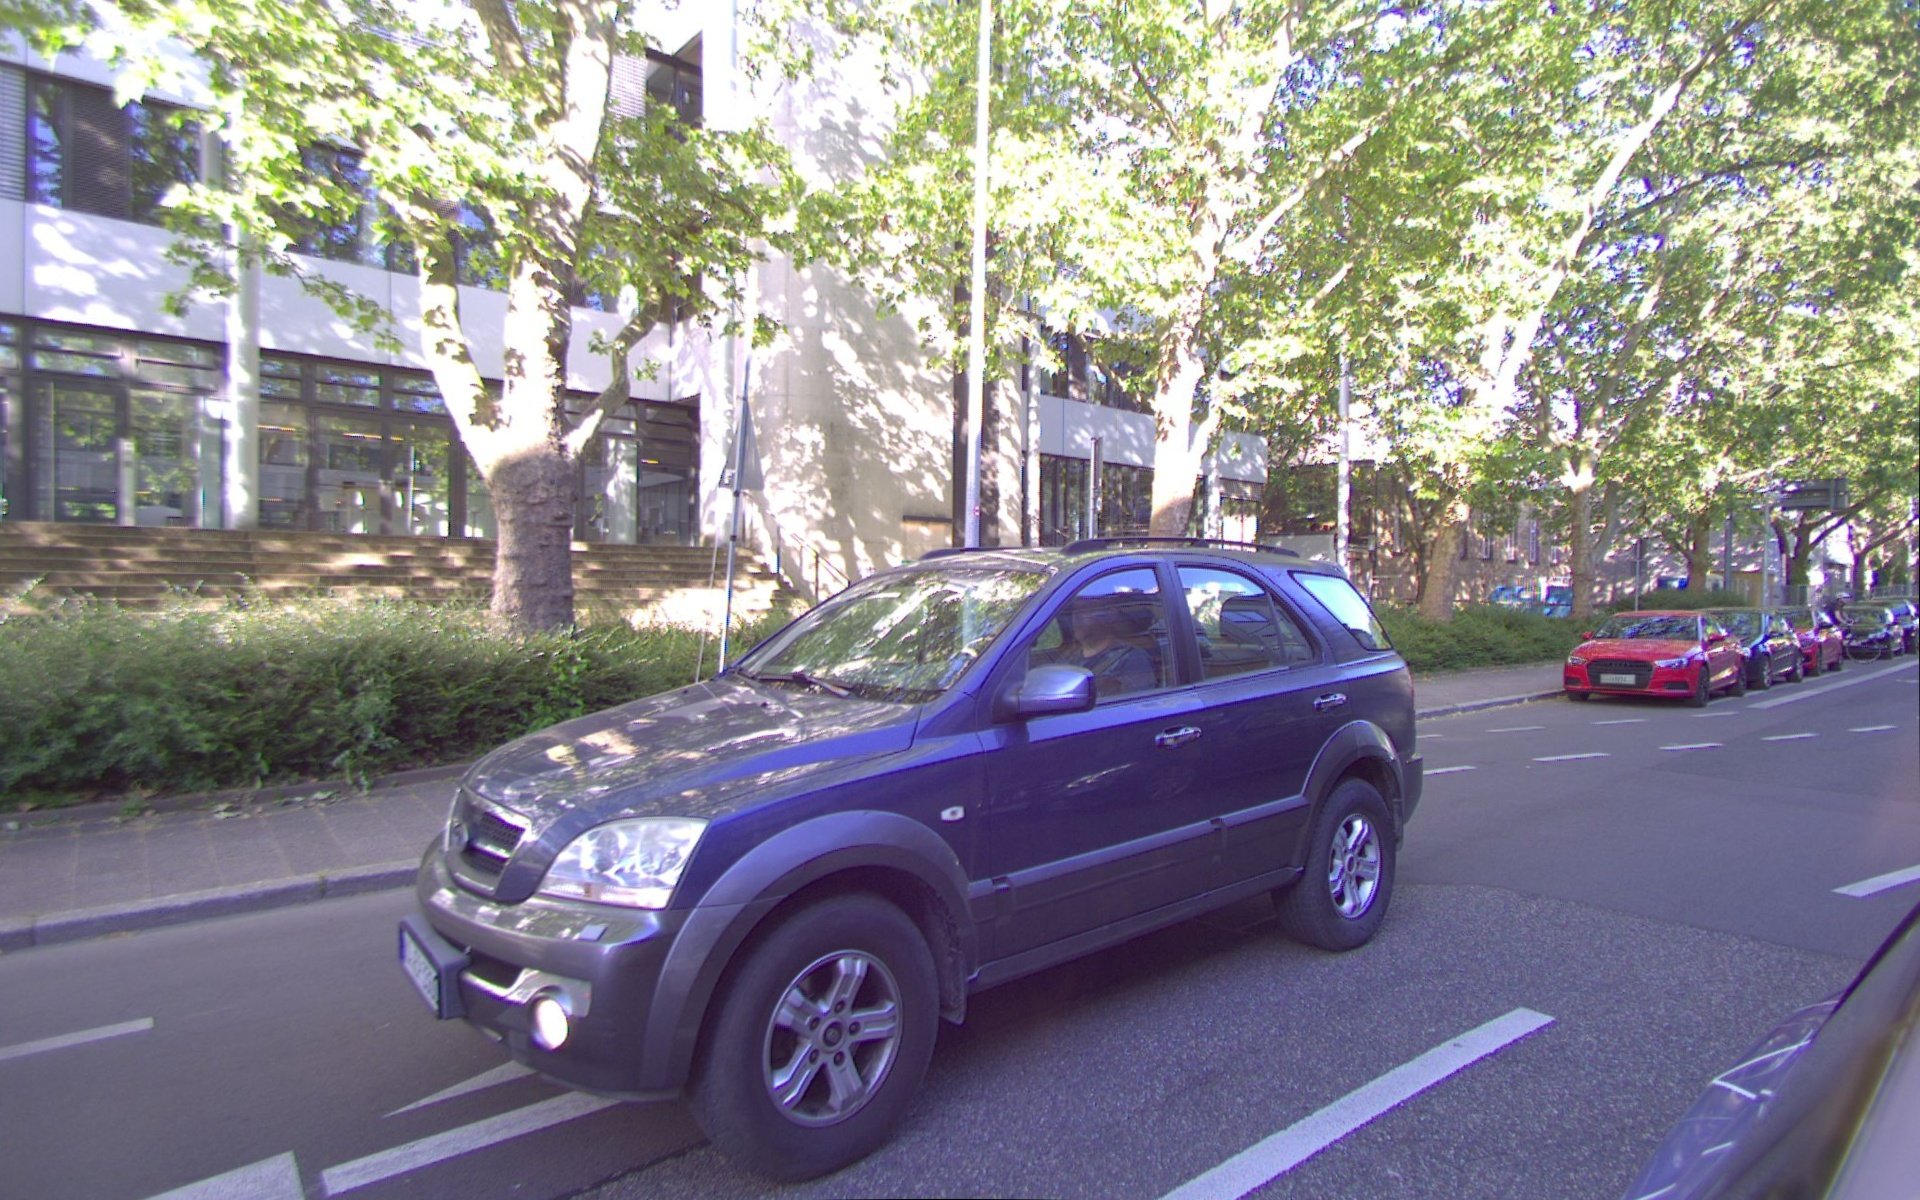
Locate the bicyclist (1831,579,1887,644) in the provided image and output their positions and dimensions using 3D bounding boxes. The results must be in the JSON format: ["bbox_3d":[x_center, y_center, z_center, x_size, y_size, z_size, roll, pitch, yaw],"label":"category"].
[{"bbox_3d":[23.023,0.289,25.940,1.032,1.640,0.688,0,0,39],"label":"bicyclist"}]

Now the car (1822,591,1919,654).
[{"bbox_3d":[25.941,0.590,28.714,4.022,1.653,1.739,0,1,-42],"label":"car"}]

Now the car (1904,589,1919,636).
[{"bbox_3d":[38.732,0.495,39.998,3.829,1.818,1.739,0,1,-42],"label":"car"}]

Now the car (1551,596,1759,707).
[{"bbox_3d":[11.204,0.736,16.216,4.071,1.548,1.827,0,-1,-42],"label":"car"}]

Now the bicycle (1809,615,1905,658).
[{"bbox_3d":[22.979,0.930,25.975,1.790,1.027,0.724,0,0,39],"label":"bicycle"}]

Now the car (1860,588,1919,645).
[{"bbox_3d":[29.703,0.482,31.854,3.840,1.708,1.633,0,1,-42],"label":"car"}]

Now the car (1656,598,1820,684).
[{"bbox_3d":[14.863,0.711,19.254,4.022,1.472,1.739,0,-1,-42],"label":"car"}]

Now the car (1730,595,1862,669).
[{"bbox_3d":[18.698,0.669,22.581,3.851,1.511,1.679,0,-1,-42],"label":"car"}]

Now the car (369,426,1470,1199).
[{"bbox_3d":[0.201,0.546,4.137,4.306,1.793,1.784,0,-1,-40],"label":"car"}]
